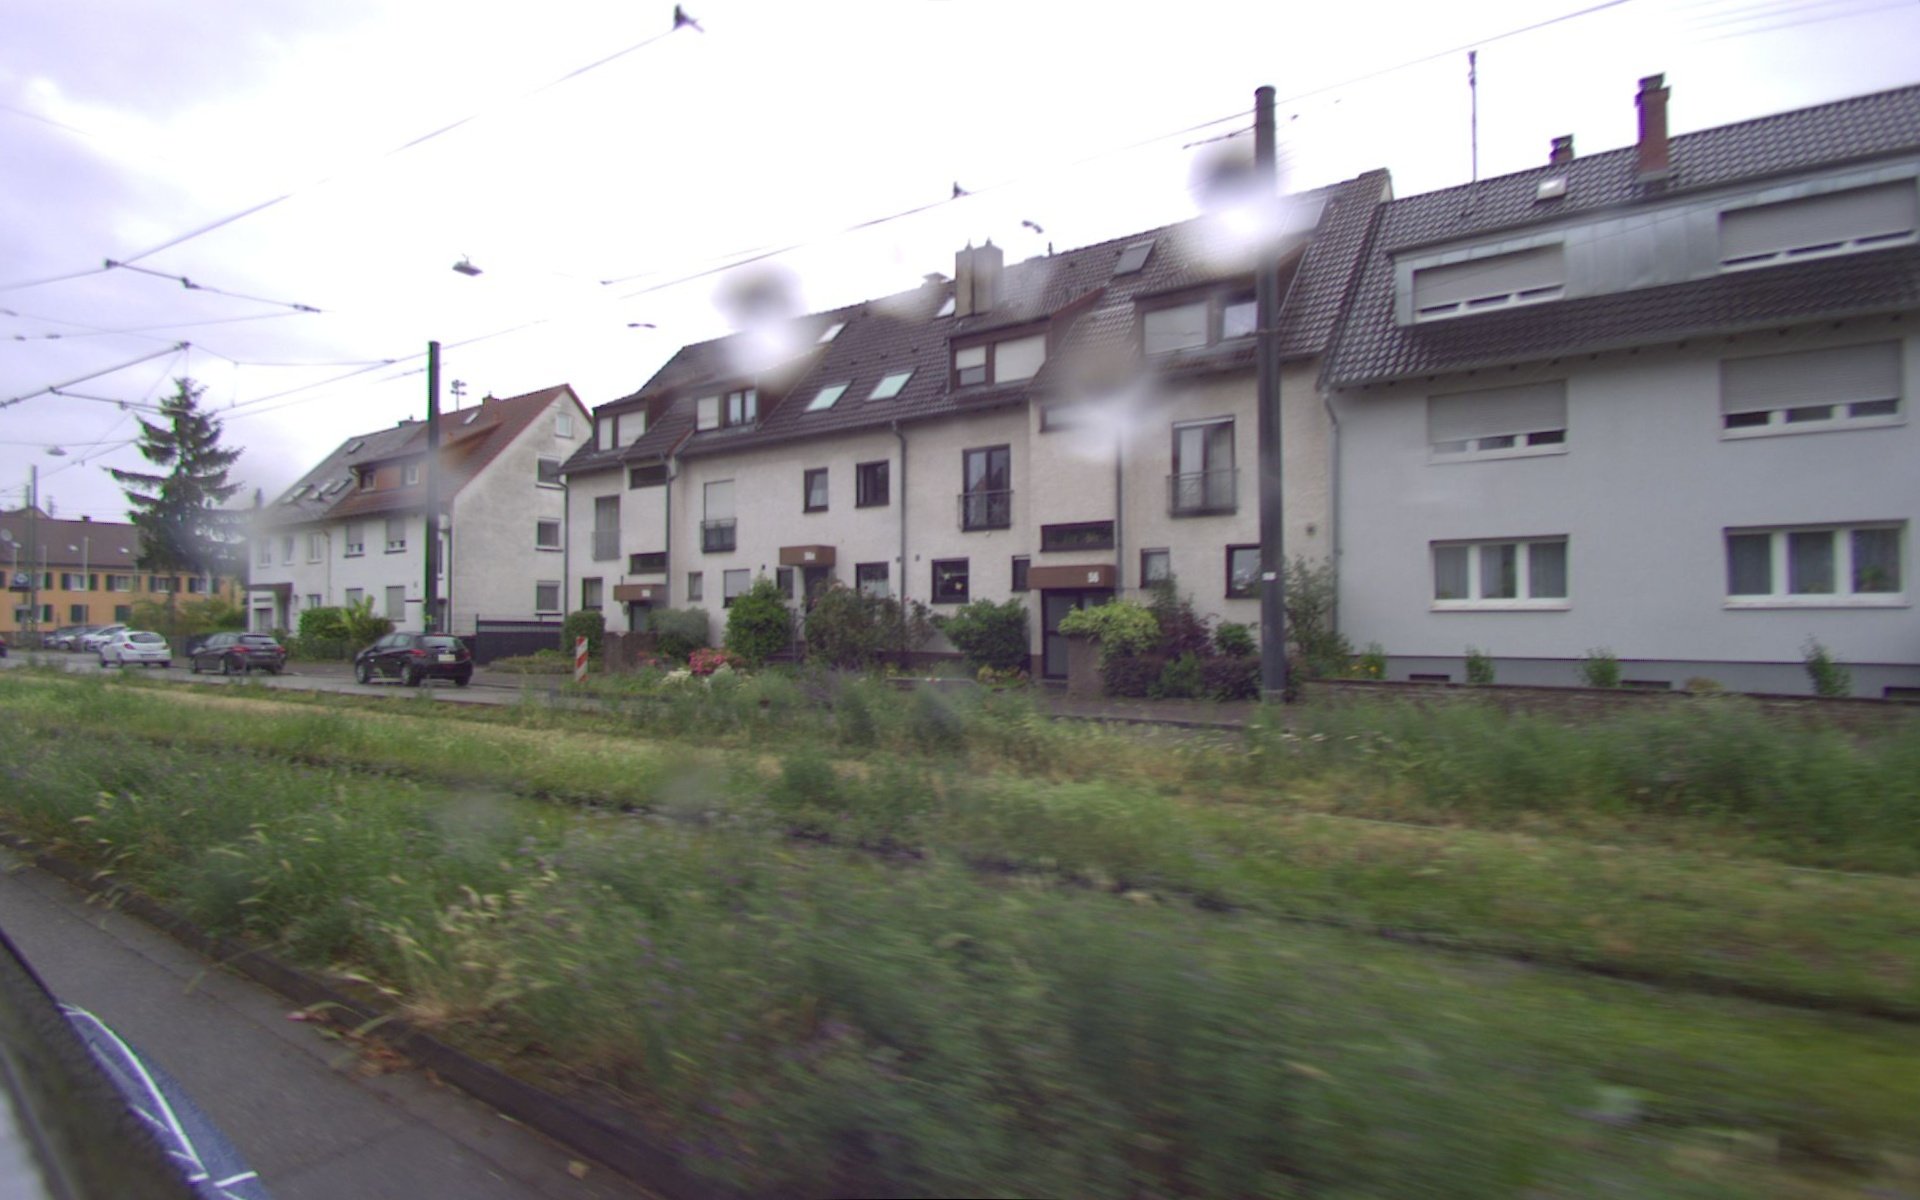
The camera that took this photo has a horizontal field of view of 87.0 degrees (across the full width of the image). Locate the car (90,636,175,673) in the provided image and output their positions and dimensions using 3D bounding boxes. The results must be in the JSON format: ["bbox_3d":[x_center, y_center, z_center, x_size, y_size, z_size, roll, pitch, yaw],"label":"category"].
[{"bbox_3d":[-34.389,2.235,42.034,3.991,1.451,1.696,-1,-3,35],"label":"car"}]

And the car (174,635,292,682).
[{"bbox_3d":[-25.436,2.013,35.373,4.745,1.543,1.870,-1,-3,35],"label":"car"}]

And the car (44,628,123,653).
[{"bbox_3d":[-58.115,2.666,67.165,3.938,1.607,1.916,0,-1,-41],"label":"car"}]

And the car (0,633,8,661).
[{"bbox_3d":[-56.699,2.689,58.375,3.992,1.602,1.890,-1,-3,36],"label":"car"}]

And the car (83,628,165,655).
[{"bbox_3d":[-54.658,2.684,66.213,1.914,1.607,3.943,-2,-2,43],"label":"car"}]

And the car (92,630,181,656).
[{"bbox_3d":[-50.906,2.617,62.633,1.910,1.475,3.949,-2,-1,37],"label":"car"}]

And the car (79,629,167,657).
[{"bbox_3d":[-52.806,2.681,63.909,1.910,1.607,3.949,-2,-1,37],"label":"car"}]

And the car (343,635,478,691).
[{"bbox_3d":[-15.232,1.705,27.996,3.929,1.437,1.757,-2,-3,36],"label":"car"}]
